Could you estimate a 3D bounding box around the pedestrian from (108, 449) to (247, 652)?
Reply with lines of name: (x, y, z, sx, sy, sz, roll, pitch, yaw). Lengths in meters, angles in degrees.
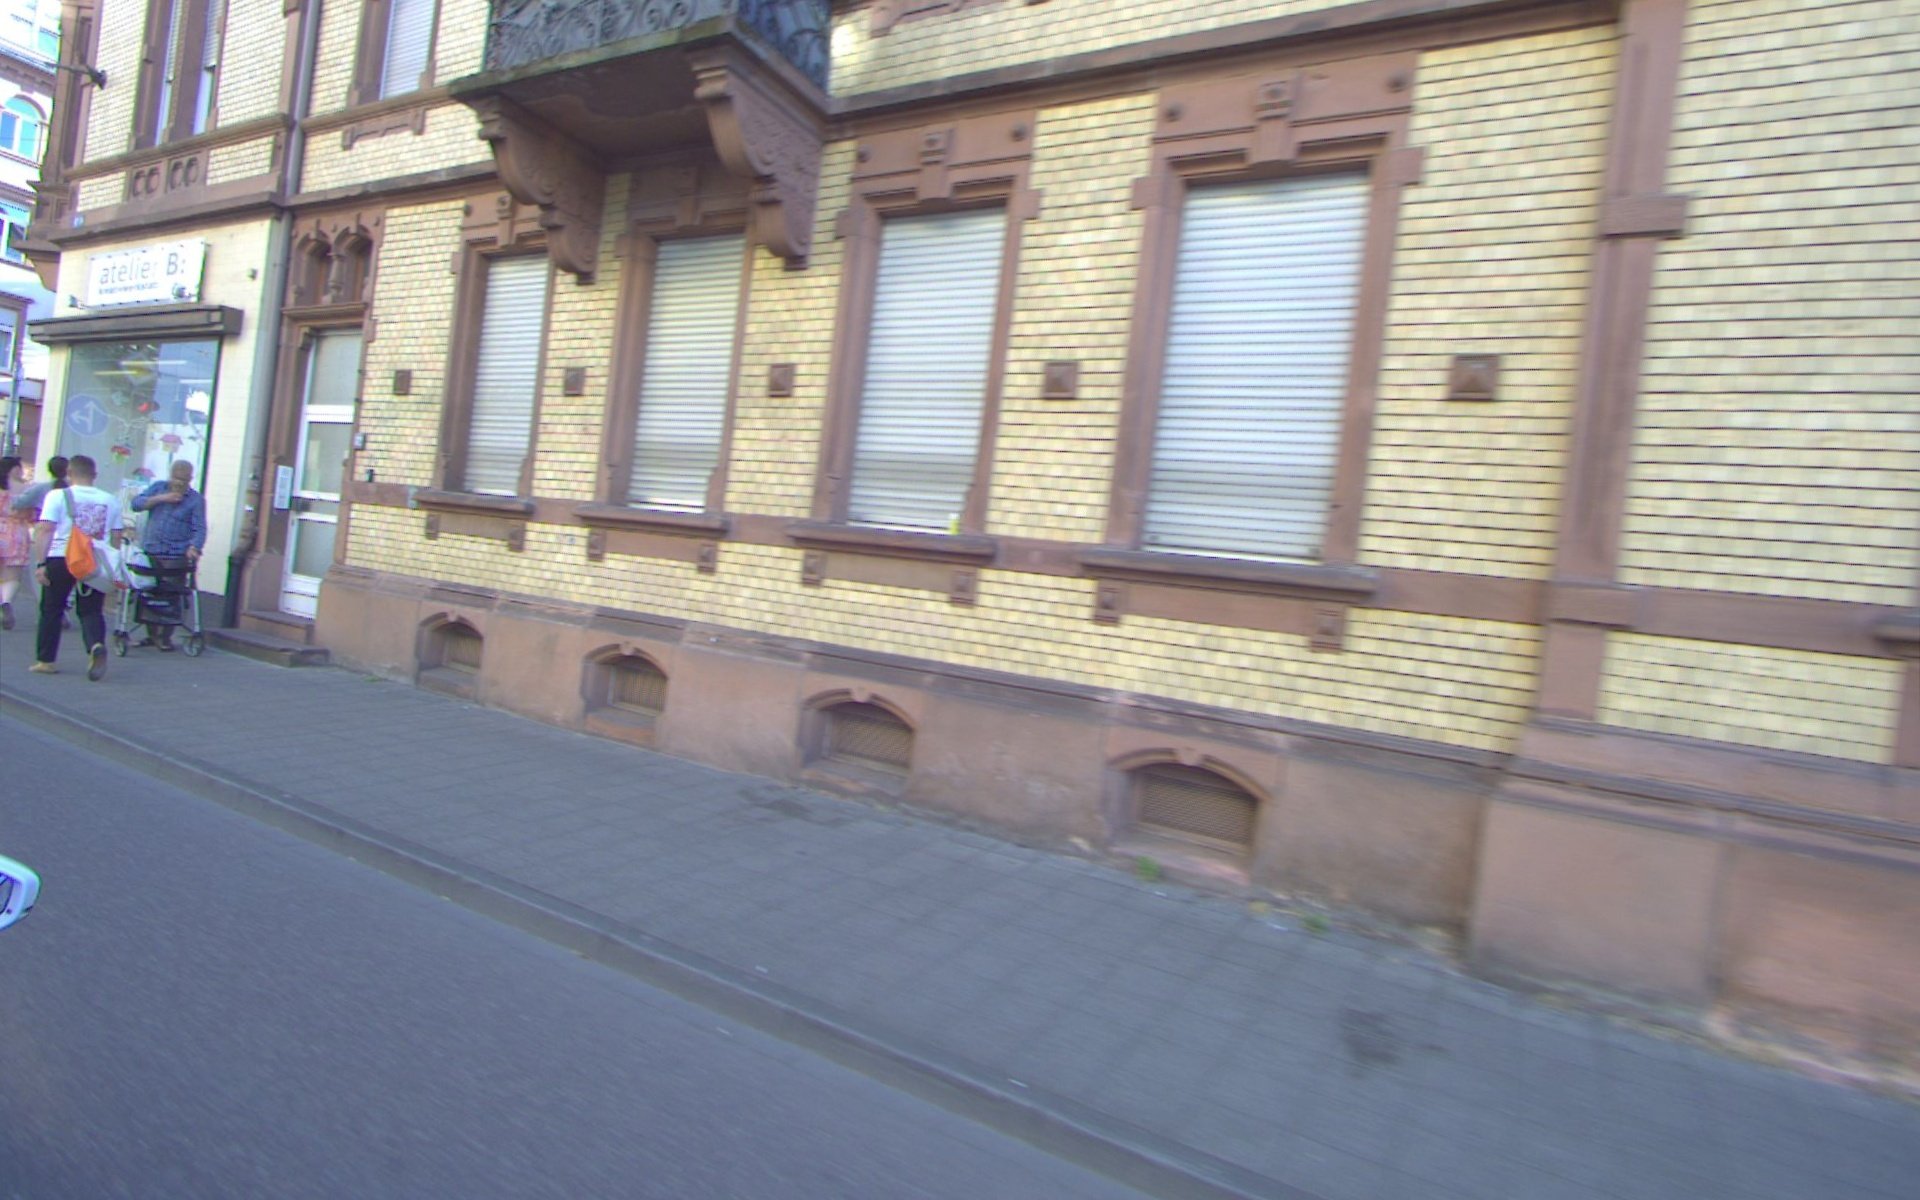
pedestrian: (-7.577, -0.475, 9.745, 0.748, 1.826, 0.805, 8, 5, 30)

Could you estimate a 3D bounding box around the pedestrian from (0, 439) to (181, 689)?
pedestrian: (-7.009, -0.304, 8.076, 1.073, 1.826, 0.805, 8, 5, 29)

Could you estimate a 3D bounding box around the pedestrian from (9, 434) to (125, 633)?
pedestrian: (-9.169, -0.673, 10.329, 0.659, 1.936, 0.690, 8, 5, 29)

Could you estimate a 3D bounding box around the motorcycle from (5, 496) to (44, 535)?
motorcycle: (-31.920, -2.892, 34.312, 2.254, 1.033, 0.718, 10, 3, 42)

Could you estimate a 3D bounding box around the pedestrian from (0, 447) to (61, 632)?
pedestrian: (-9.751, -0.631, 10.137, 0.748, 1.826, 0.805, 8, 5, 29)

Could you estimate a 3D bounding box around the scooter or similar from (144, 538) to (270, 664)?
scooter or similar: (-7.059, -0.002, 9.443, 0.512, 1.086, 0.805, 8, 5, 30)
